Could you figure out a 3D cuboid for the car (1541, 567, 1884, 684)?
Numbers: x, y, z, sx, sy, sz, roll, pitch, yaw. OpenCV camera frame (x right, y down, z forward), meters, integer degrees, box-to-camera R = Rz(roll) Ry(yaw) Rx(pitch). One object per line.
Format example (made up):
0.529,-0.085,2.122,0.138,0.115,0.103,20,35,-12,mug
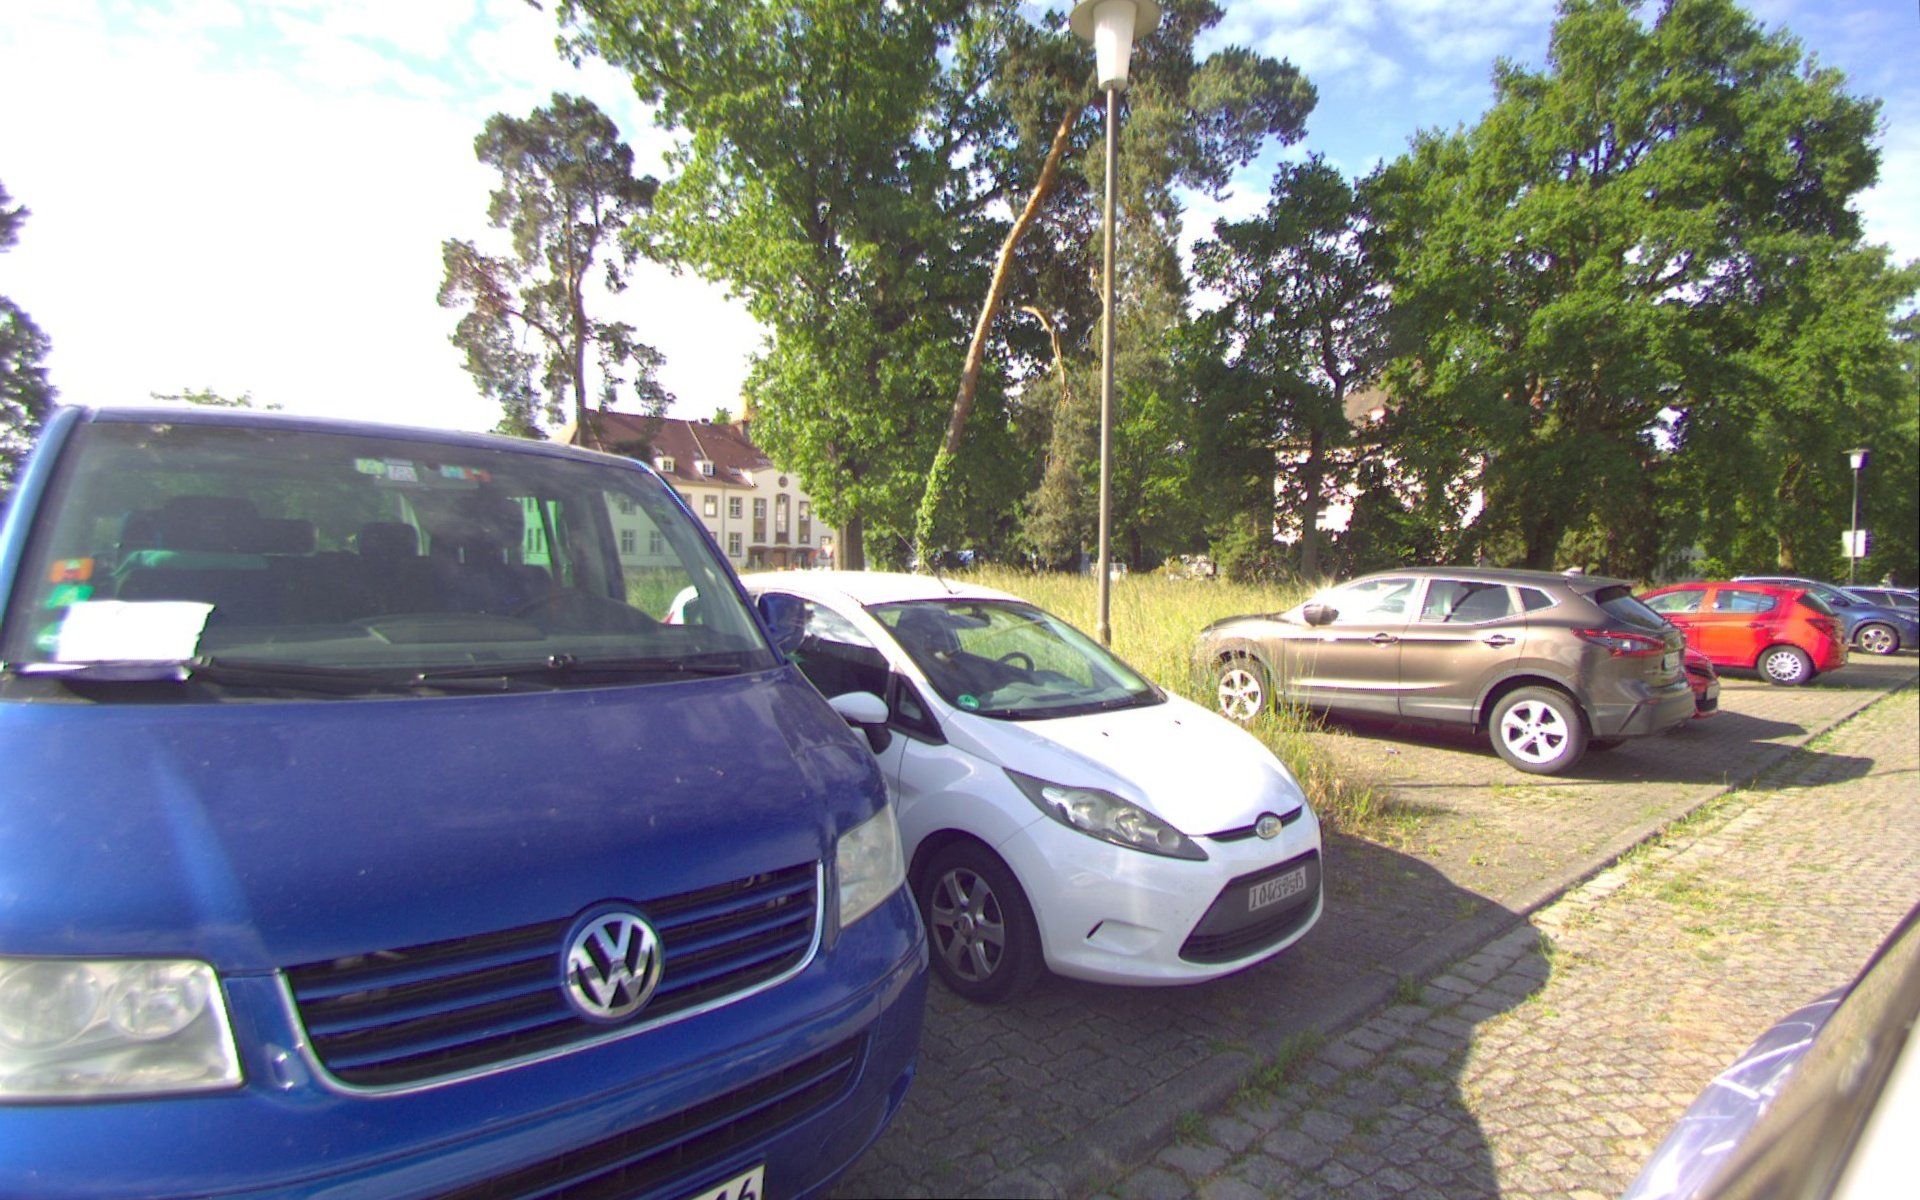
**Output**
11.902,0.303,16.212,1.821,1.477,4.094,0,4,-42,car

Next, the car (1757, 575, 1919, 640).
23.040,0.182,25.730,1.754,1.440,4.094,0,4,-42,car

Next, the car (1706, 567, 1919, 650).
19.522,0.147,22.760,1.821,1.576,4.094,0,4,-42,car

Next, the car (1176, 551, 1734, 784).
4.323,0.380,9.349,1.903,1.617,4.230,-2,4,-44,car

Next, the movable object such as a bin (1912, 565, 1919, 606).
49.560,-0.680,48.843,1.959,2.039,4.881,0,1,-28,movable object such as a bin

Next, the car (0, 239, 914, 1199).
-2.423,0.285,3.862,1.965,1.958,4.708,-1,4,-41,car

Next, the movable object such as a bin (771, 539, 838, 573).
-16.023,-4.526,104.533,6.336,3.342,2.863,-1,0,6,movable object such as a bin

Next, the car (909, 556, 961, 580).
-2.172,-2.802,88.666,4.319,1.963,1.905,-2,1,-40,car

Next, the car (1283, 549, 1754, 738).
6.075,0.295,11.390,1.903,1.617,4.231,-2,5,-43,car

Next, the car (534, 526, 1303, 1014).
-0.630,0.428,5.613,1.906,1.596,4.406,-1,4,-41,car
